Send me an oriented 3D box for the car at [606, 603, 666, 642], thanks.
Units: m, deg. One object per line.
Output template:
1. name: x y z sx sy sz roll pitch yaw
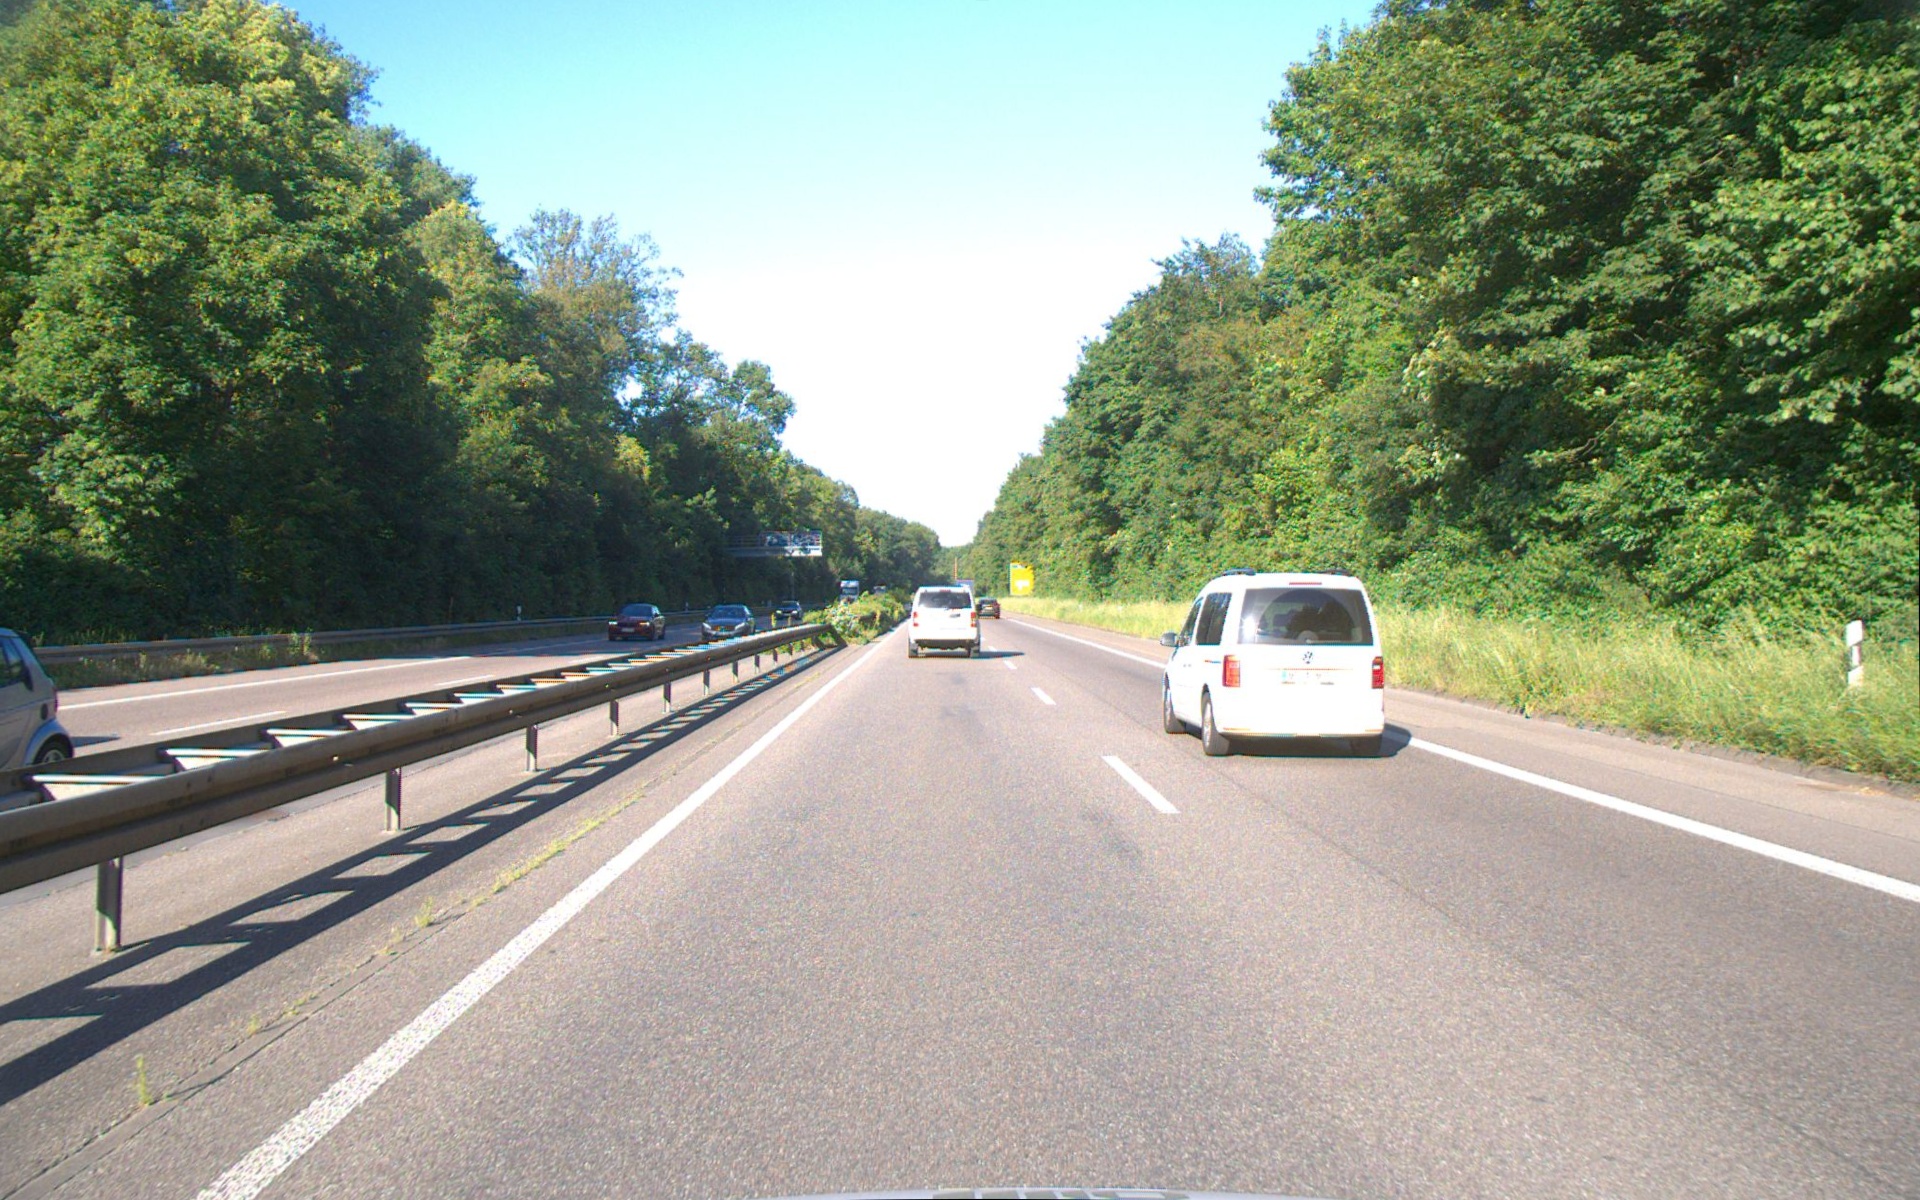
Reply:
1. car: -13.136 0.890 67.240 1.683 1.470 4.227 -1 0 -2

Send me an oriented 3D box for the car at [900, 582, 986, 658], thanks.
1. car: -0.488 0.482 42.630 2.043 1.860 3.998 0 0 -3

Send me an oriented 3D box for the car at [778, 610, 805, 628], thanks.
1. car: -13.023 1.457 128.083 1.683 1.380 3.946 1 0 0

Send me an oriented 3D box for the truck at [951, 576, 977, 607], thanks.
1. truck: 0.524 -1.231 236.067 3.425 4.245 8.860 -1 0 -1

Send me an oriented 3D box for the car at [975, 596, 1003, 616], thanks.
1. car: 2.154 0.432 122.912 1.953 1.422 3.999 1 0 -1

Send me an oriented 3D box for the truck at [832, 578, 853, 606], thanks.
1. truck: -16.168 -1.067 227.759 2.706 3.777 7.852 -1 0 -3

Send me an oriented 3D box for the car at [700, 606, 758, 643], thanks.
1. car: -9.195 0.940 66.000 1.798 1.380 4.473 0 0 -2

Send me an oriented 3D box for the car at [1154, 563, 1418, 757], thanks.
1. car: 3.320 0.548 17.732 1.826 1.801 4.468 1 0 -2

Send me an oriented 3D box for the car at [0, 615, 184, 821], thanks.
1. car: -8.418 0.946 13.794 1.839 1.567 4.463 -1 0 -1
